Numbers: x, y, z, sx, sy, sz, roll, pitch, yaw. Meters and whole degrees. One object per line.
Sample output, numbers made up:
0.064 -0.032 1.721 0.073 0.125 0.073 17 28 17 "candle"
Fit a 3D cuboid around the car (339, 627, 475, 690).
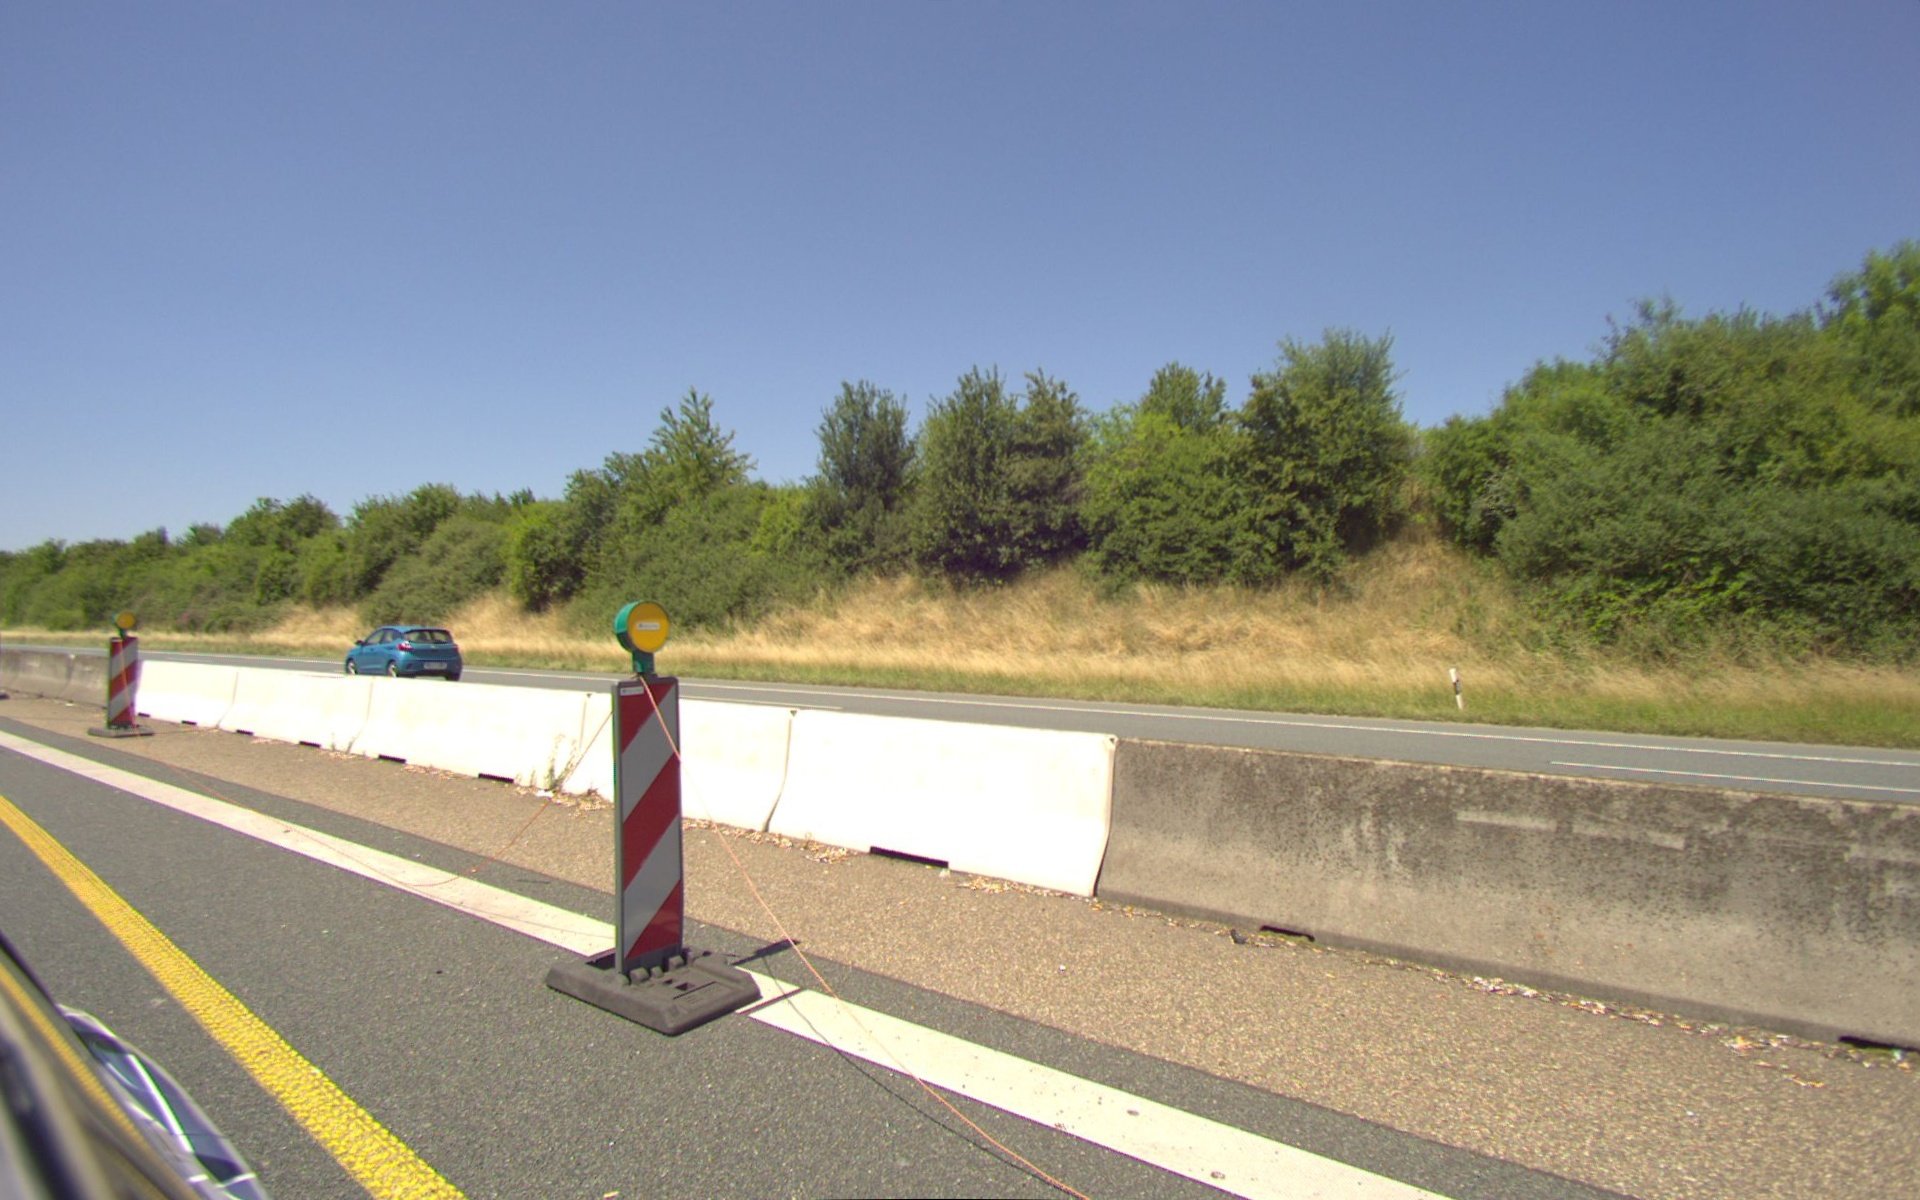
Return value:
-14.747 1.502 26.957 3.472 1.529 1.873 -1 -1 36 "car"
